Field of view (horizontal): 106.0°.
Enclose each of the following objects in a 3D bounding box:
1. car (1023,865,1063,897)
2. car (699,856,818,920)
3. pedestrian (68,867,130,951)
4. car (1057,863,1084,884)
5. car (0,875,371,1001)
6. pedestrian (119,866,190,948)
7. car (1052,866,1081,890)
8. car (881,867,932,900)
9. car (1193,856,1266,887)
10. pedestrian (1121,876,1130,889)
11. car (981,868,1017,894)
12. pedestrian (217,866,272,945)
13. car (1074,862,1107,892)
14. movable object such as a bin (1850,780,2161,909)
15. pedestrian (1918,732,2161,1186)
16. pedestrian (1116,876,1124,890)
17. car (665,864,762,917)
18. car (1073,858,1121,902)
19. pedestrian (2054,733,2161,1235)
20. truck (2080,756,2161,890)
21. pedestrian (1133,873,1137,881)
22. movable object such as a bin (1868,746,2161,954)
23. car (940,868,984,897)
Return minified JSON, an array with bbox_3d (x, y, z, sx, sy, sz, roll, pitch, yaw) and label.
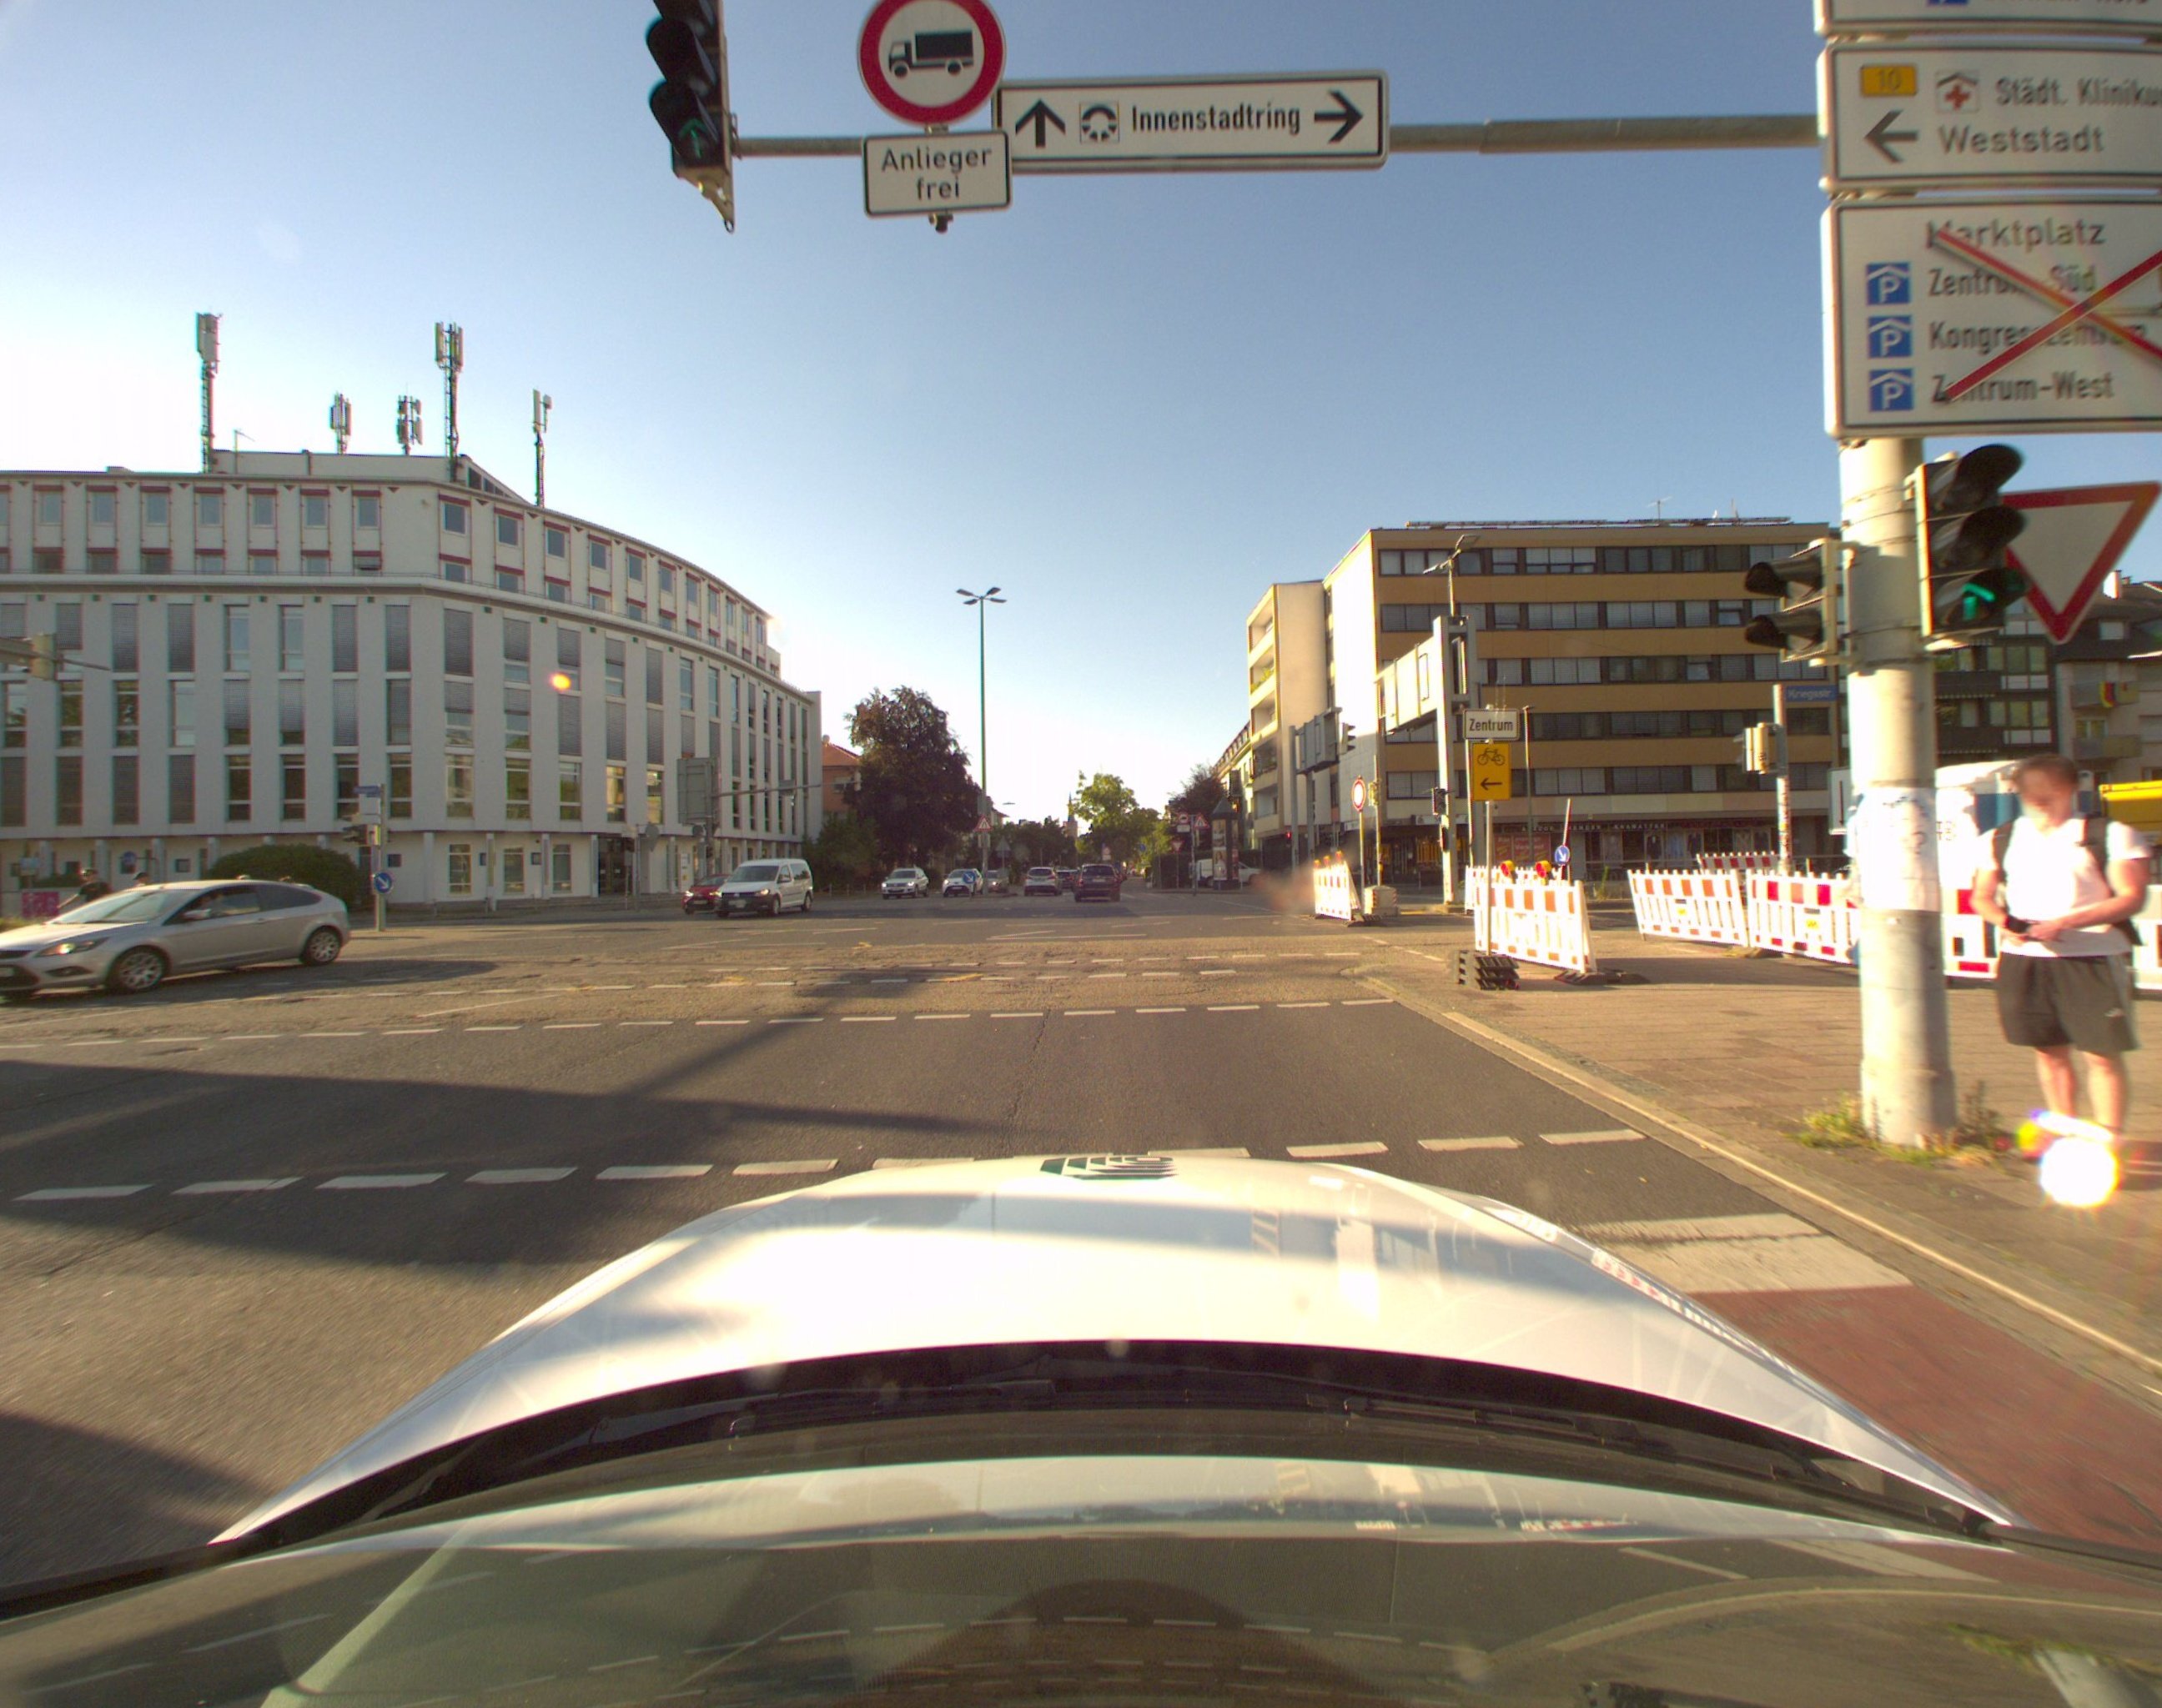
[{"bbox_3d":[-1.959,1.372,43.094,1.741,1.564,4.052,-2,-1,2],"label":"car"},{"bbox_3d":[-10.189,1.018,26.162,1.909,1.811,4.715,-2,-1,-1],"label":"car"},{"bbox_3d":[-22.472,1.235,18.641,0.654,1.859,0.783,-2,-1,27],"label":"pedestrian"},{"bbox_3d":[-0.819,1.583,65.779,1.986,1.508,4.000,-3,-3,1],"label":"car"},{"bbox_3d":[-13.532,1.116,12.340,1.652,1.494,4.347,-1,-1,1],"label":"car"},{"bbox_3d":[-21.332,1.210,18.754,0.753,1.842,0.822,-2,-1,15],"label":"pedestrian"},{"bbox_3d":[-0.998,1.643,57.392,1.741,1.564,4.052,-2,-1,2],"label":"car"},{"bbox_3d":[-9.416,1.552,44.250,1.874,1.654,4.048,-2,-1,-1],"label":"car"},{"bbox_3d":[9.520,1.115,52.433,4.349,1.878,2.000,-2,-1,0],"label":"car"},{"bbox_3d":[6.696,4.309,123.295,1.205,2.014,1.422,-1,-1,0],"label":"pedestrian"},{"bbox_3d":[-5.086,1.648,50.953,1.842,1.461,4.048,-2,-1,-1],"label":"car"},{"bbox_3d":[-20.256,1.226,19.727,0.653,1.868,0.783,-2,-1,30],"label":"pedestrian"},{"bbox_3d":[0.553,1.317,47.565,1.813,1.640,4.000,-2,-1,1],"label":"car"},{"bbox_3d":[20.483,-0.194,17.591,5.333,2.490,2.547,-1,-1,-1],"label":"movable object such as a bin"},{"bbox_3d":[4.405,0.430,3.690,0.519,1.868,0.614,-1,-1,-4],"label":"pedestrian"},{"bbox_3d":[4.532,3.330,94.553,0.859,1.608,0.705,-1,-1,0],"label":"pedestrian"},{"bbox_3d":[-13.533,1.291,30.257,1.743,1.811,4.048,-2,-1,-1],"label":"car"},{"bbox_3d":[0.678,0.993,32.133,1.741,1.564,4.052,-2,-1,2],"label":"car"},{"bbox_3d":[4.266,0.463,2.914,0.734,1.799,0.719,-2,-1,28],"label":"pedestrian"},{"bbox_3d":[27.041,-0.765,17.708,7.312,2.898,2.806,-1,-1,-2],"label":"truck"},{"bbox_3d":[11.157,4.721,168.297,0.763,1.684,0.999,-2,-1,1],"label":"pedestrian"},{"bbox_3d":[12.408,-0.054,10.315,3.316,2.383,1.529,-2,-1,1],"label":"movable object such as a bin"},{"bbox_3d":[-6.475,1.527,44.678,1.842,1.461,4.048,-2,-1,-1],"label":"car"}]
